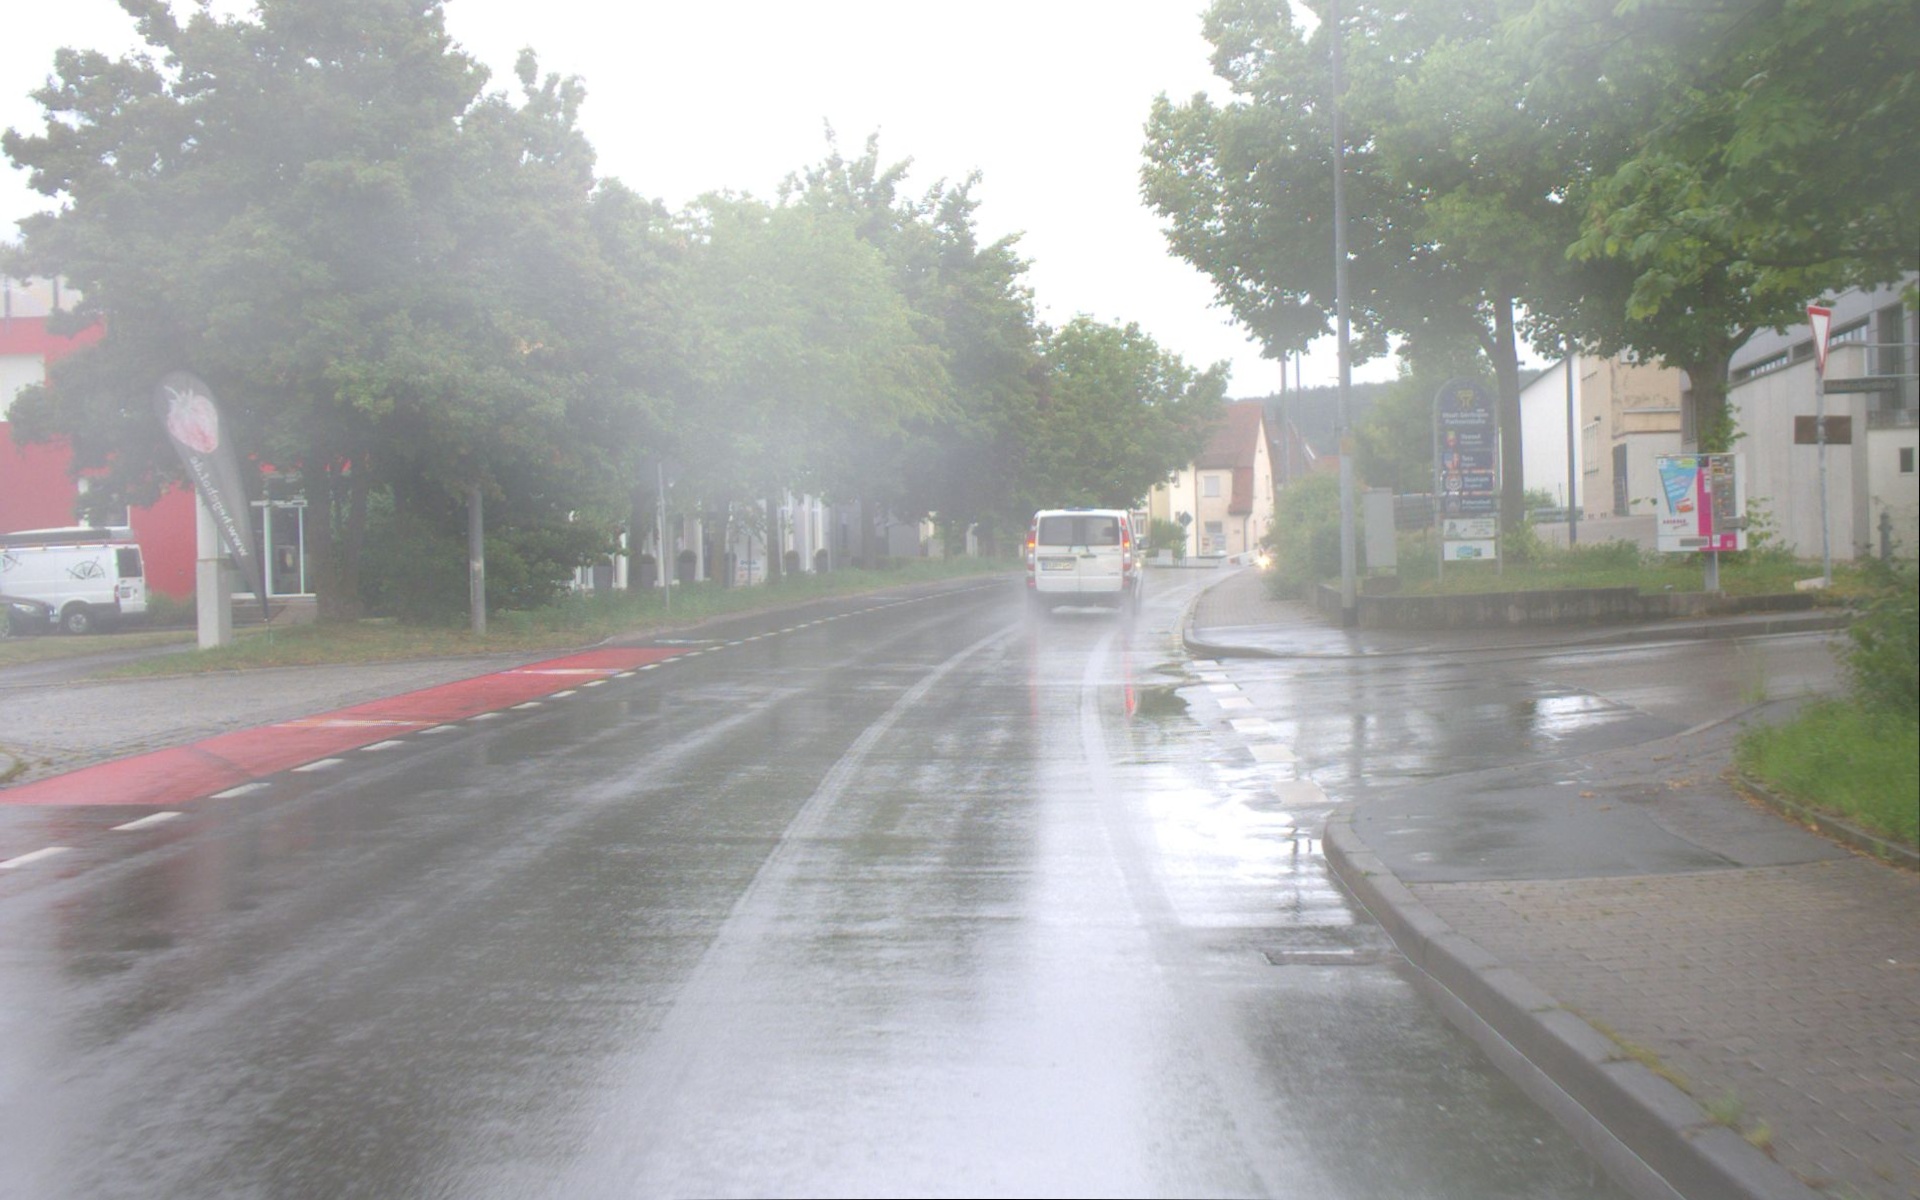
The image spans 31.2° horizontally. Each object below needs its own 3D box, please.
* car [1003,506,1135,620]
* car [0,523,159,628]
[{"bbox_3d":[1.864,-0.680,60.009,2.117,1.881,4.502,0,2,0],"label":"car"},{"bbox_3d":[-20.469,-0.563,76.914,4.478,2.302,2.184,0,2,8],"label":"car"}]
